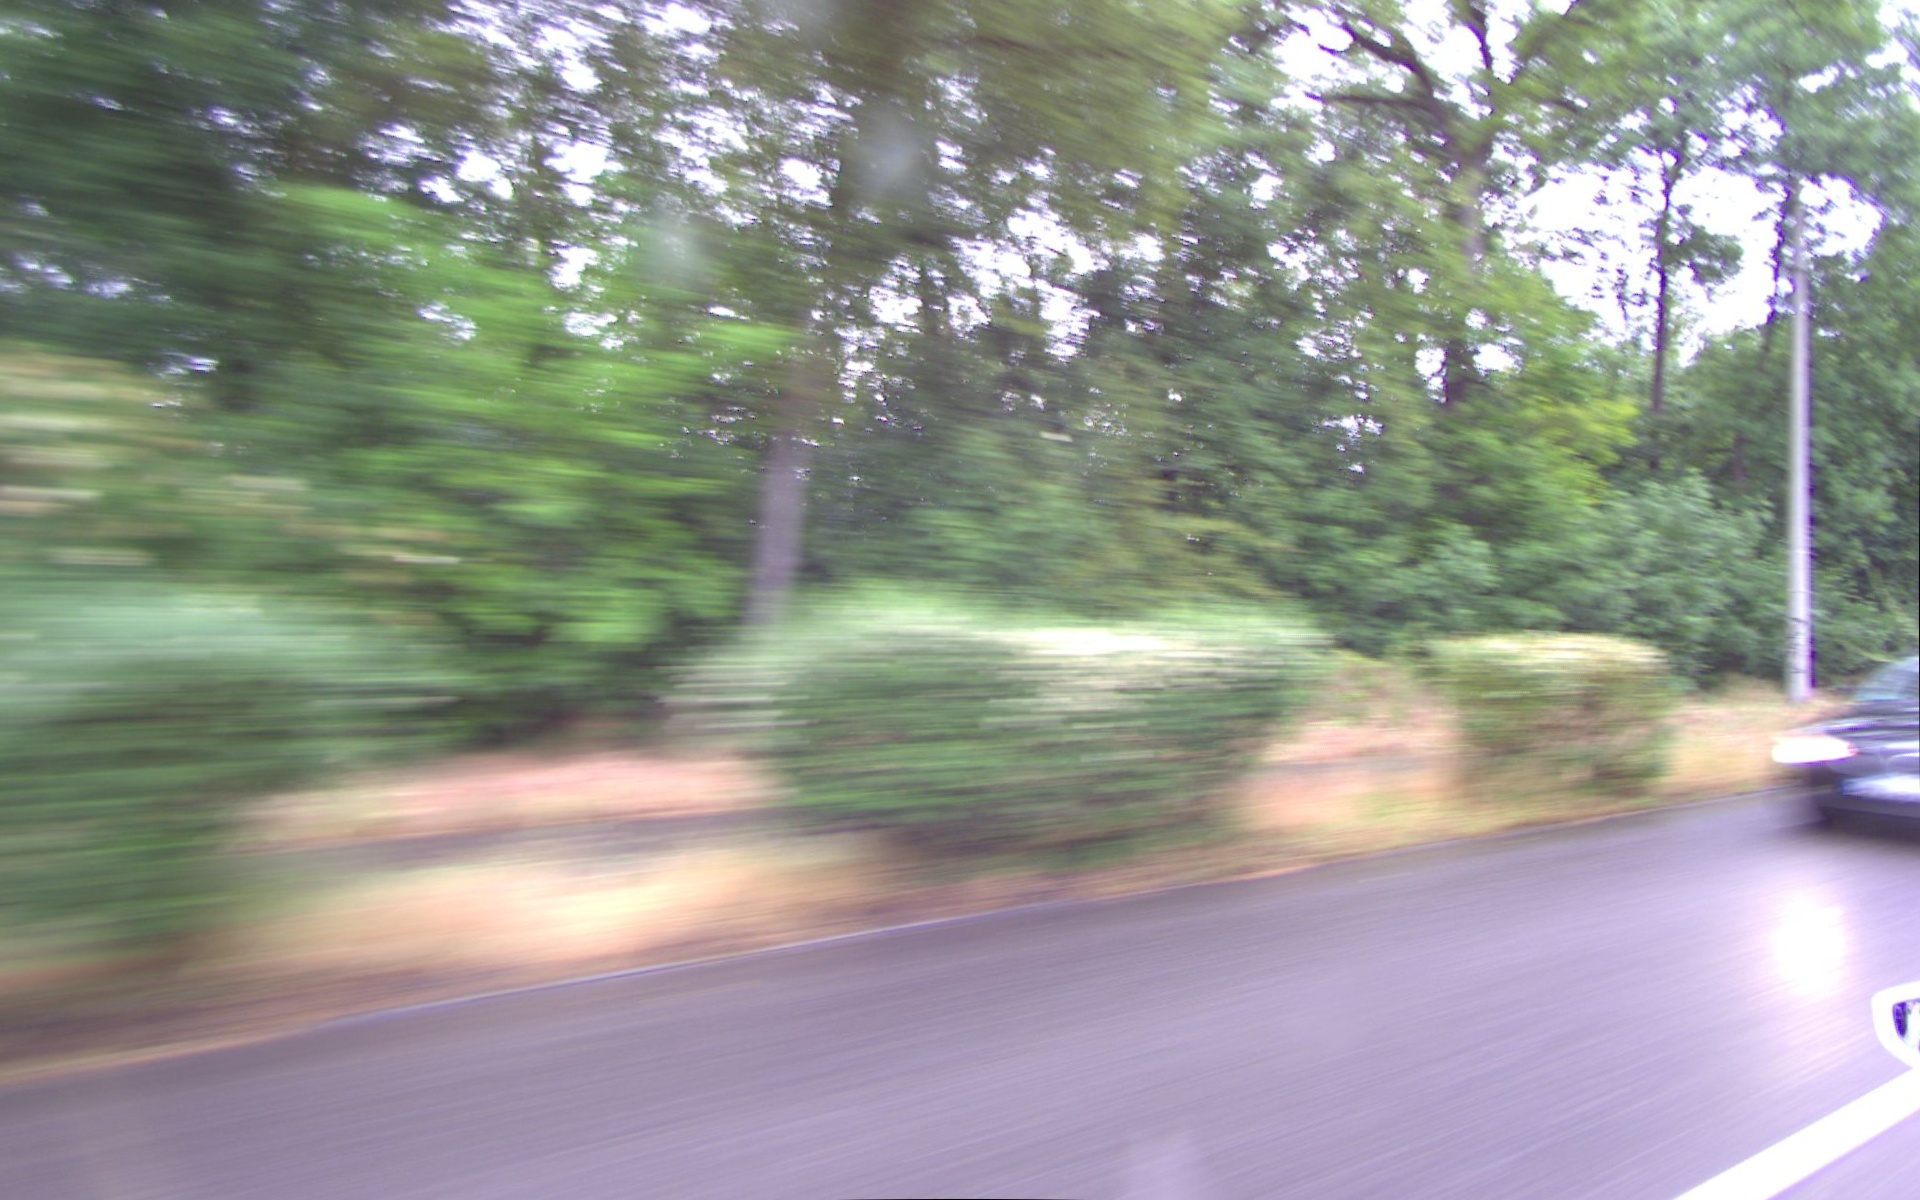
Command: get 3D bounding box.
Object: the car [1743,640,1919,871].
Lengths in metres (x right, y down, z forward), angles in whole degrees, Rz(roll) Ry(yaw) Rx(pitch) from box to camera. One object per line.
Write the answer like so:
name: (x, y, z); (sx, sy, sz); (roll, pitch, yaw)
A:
car: (8.399, 1.060, 7.935); (5.051, 1.462, 1.721); (0, -2, -30)
